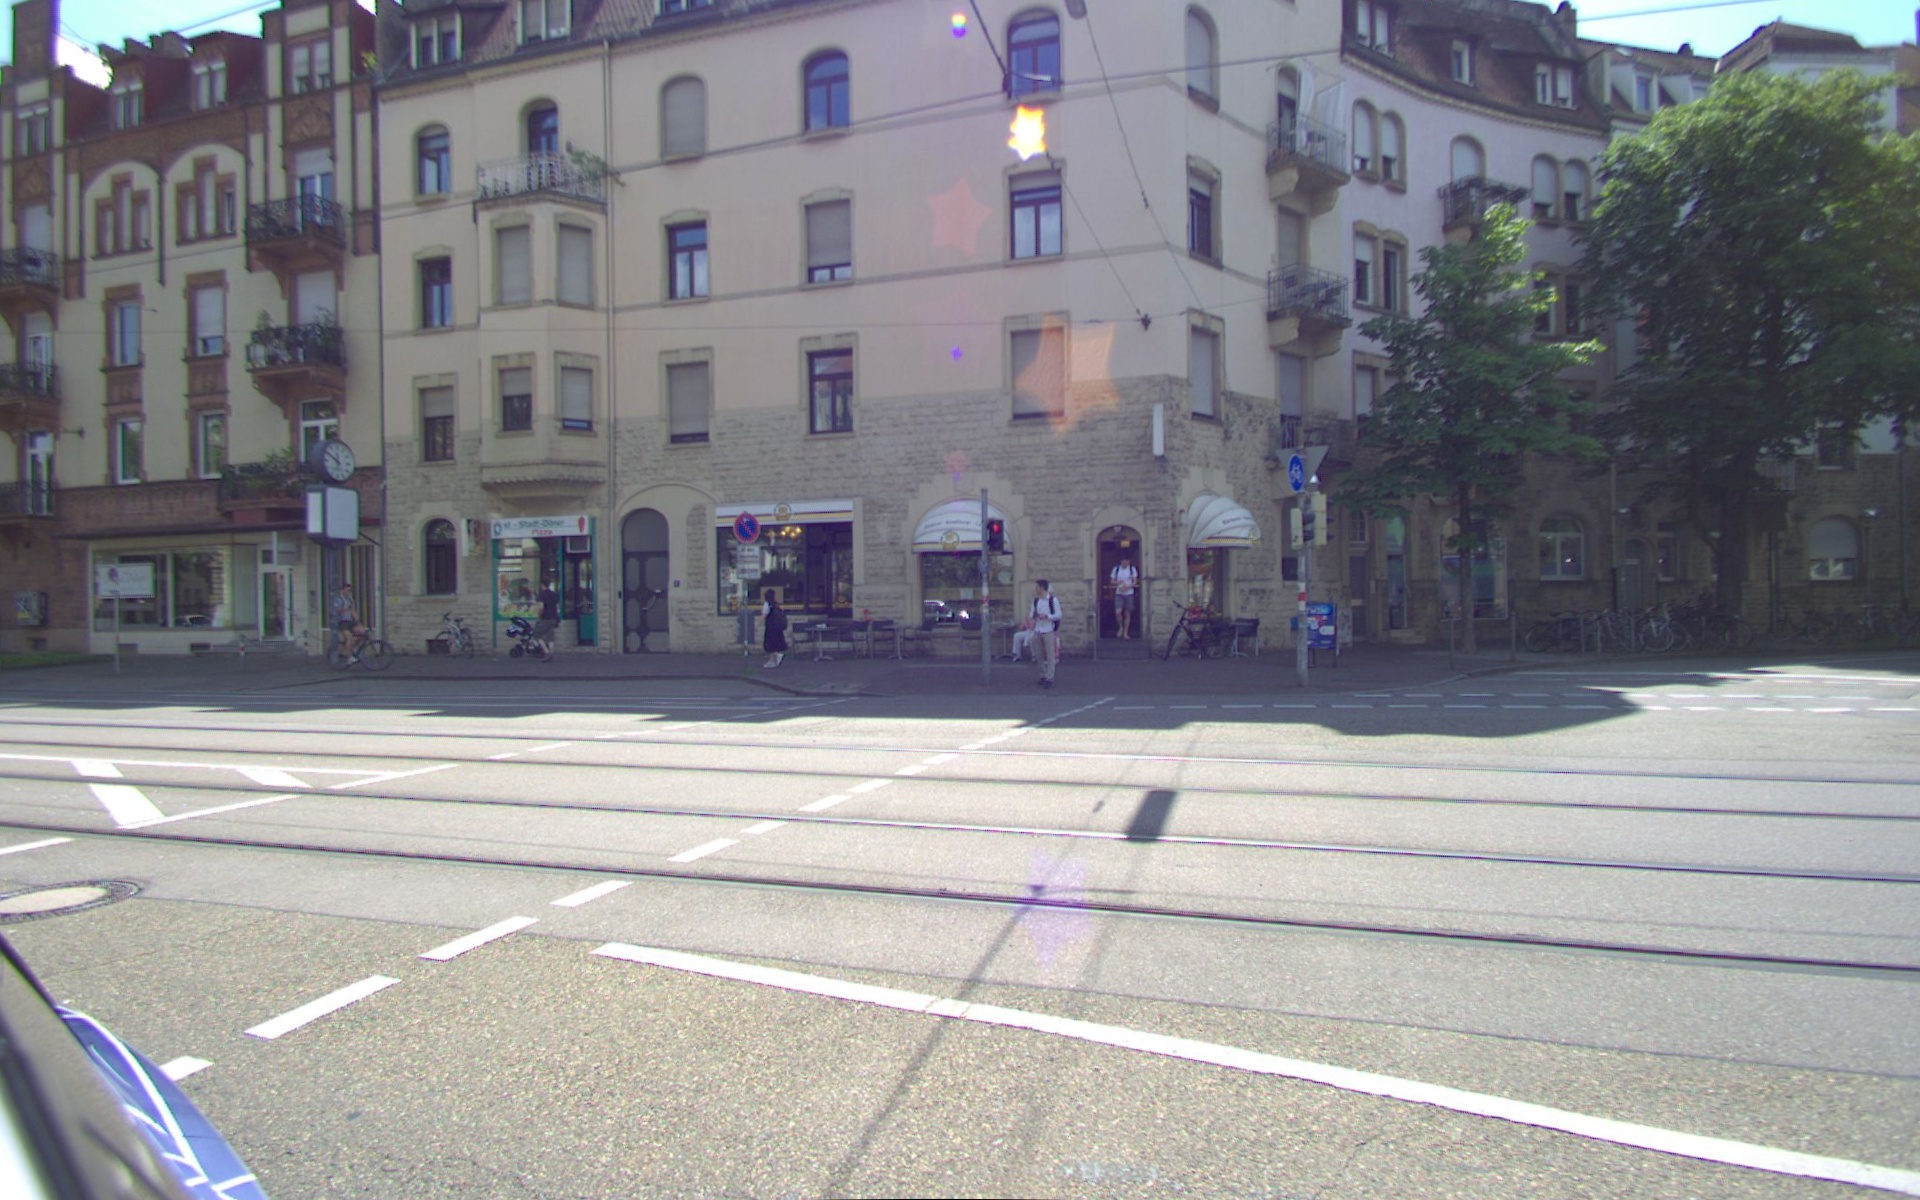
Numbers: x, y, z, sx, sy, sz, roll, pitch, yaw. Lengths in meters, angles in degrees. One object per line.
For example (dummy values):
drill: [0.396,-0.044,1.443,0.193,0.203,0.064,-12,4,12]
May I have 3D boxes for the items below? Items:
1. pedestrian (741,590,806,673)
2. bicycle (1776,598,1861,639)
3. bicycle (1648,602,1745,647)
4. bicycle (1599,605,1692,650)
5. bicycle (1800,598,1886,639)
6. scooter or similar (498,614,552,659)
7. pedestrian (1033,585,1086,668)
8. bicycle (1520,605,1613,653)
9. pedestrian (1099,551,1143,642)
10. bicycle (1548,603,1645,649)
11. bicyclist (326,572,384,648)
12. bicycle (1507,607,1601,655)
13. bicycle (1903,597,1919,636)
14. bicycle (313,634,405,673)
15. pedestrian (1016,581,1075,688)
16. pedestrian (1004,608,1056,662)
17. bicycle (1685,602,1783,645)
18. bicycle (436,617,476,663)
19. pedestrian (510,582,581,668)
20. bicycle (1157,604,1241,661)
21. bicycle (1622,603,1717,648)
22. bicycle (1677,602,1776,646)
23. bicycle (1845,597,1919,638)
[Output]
pedestrian: [-3.834,0.627,20.879,1.017,1.647,0.859,-1,2,15]
bicycle: [22.696,0.480,26.812,0.536,1.040,1.858,-1,0,-5]
bicycle: [17.943,0.593,24.692,0.535,1.040,1.862,-1,0,-26]
bicycle: [16.460,0.652,24.357,0.535,1.040,1.862,-1,0,-22]
bicycle: [23.406,0.480,26.870,0.536,1.040,1.858,-1,0,-5]
scooter or similar: [-10.786,0.892,25.110,1.189,1.052,0.698,-1,1,-23]
pedestrian: [2.003,0.527,20.231,0.911,1.607,0.805,-1,-1,16]
bicycle: [13.864,0.651,23.187,0.536,1.040,1.735,-1,0,-39]
pedestrian: [3.411,-0.069,21.406,0.813,1.866,0.759,-1,0,16]
bicycle: [15.024,0.595,23.919,0.536,1.040,1.859,-1,0,-39]
bicyclist: [-13.587,0.229,22.740,0.823,1.676,0.754,-1,-1,16]
bicycle: [13.336,0.682,22.777,0.536,1.040,1.735,-1,0,-39]
bicycle: [25.964,0.447,26.584,0.536,1.040,1.858,-1,0,-5]
bicycle: [-13.487,1.204,22.713,1.804,0.824,0.751,-1,-1,16]
pedestrian: [1.441,0.561,17.011,0.769,1.745,0.857,-1,1,19]
pedestrian: [1.468,0.728,21.202,0.875,1.086,0.913,-1,-1,18]
bicycle: [19.330,0.573,25.313,0.535,1.040,1.861,-1,0,-33]
bicycle: [-12.699,0.998,25.494,1.464,1.073,0.366,1,2,41]
pedestrian: [-9.581,0.565,23.419,1.154,1.905,0.899,-1,2,16]
bicycle: [4.903,0.662,20.751,1.653,1.137,0.546,1,-1,-20]
bicycle: [17.255,0.605,24.664,0.535,1.040,1.862,-1,0,-23]
bicycle: [18.867,0.583,24.943,0.535,1.040,1.861,-1,0,-33]
bicycle: [24.496,0.453,26.683,0.536,1.040,1.858,-1,0,-5]
